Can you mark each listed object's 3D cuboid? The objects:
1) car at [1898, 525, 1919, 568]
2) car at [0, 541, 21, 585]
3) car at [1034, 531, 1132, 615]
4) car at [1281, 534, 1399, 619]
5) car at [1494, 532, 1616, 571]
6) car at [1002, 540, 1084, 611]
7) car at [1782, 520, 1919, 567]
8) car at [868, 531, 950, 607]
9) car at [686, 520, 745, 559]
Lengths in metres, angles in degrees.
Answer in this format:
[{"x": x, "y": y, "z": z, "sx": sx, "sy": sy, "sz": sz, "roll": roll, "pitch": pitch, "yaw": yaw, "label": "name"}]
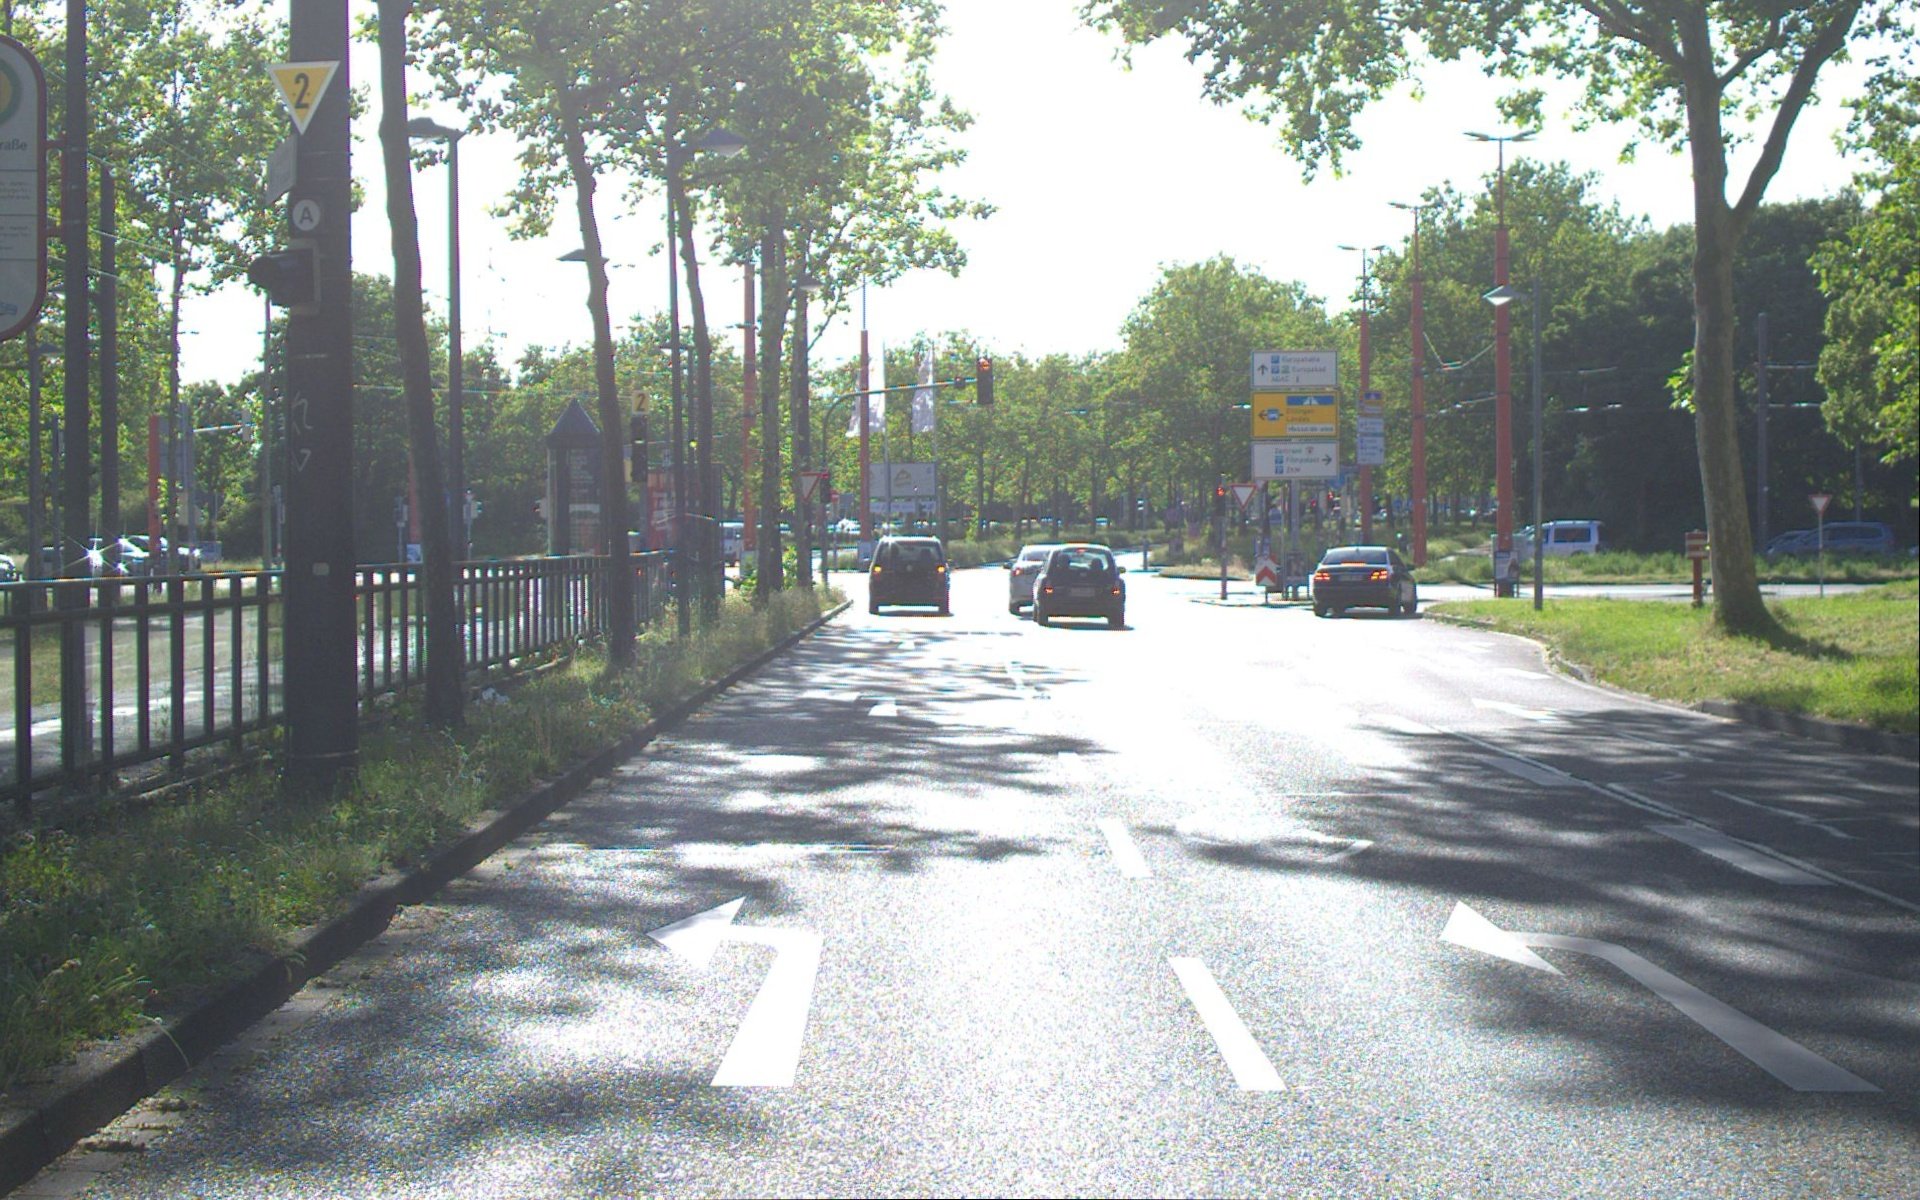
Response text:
[{"x": 34.969, "y": -1.853, "z": 120.063, "sx": 3.992, "sy": 1.490, "sz": 1.858, "roll": 1, "pitch": 1, "yaw": 26, "label": "car"}, {"x": -37.442, "y": -1.338, "z": 127.944, "sx": 4.489, "sy": 1.605, "sz": 1.898, "roll": -1, "pitch": 1, "yaw": 18, "label": "car"}, {"x": 2.314, "y": -0.541, "z": 65.395, "sx": 1.638, "sy": 1.489, "sz": 3.504, "roll": 1, "pitch": 2, "yaw": -2, "label": "car"}, {"x": 8.175, "y": -0.526, "z": 74.323, "sx": 1.981, "sy": 1.786, "sz": 4.614, "roll": 0, "pitch": 1, "yaw": -1, "label": "car"}, {"x": 21.373, "y": -1.751, "z": 123.590, "sx": 3.992, "sy": 1.333, "sz": 1.727, "roll": 1, "pitch": 1, "yaw": 26, "label": "car"}, {"x": 1.769, "y": -0.550, "z": 74.302, "sx": 1.678, "sy": 1.470, "sz": 4.131, "roll": 1, "pitch": 1, "yaw": 0, "label": "car"}, {"x": 30.817, "y": -1.947, "z": 118.850, "sx": 4.357, "sy": 1.553, "sz": 1.870, "roll": 1, "pitch": 1, "yaw": 25, "label": "car"}, {"x": -1.123, "y": -0.680, "z": 73.900, "sx": 1.710, "sy": 1.598, "sz": 3.350, "roll": 0, "pitch": 1, "yaw": -2, "label": "car"}, {"x": -11.423, "y": -2.816, "z": 160.940, "sx": 1.823, "sy": 1.774, "sz": 4.566, "roll": 1, "pitch": 1, "yaw": 8, "label": "car"}]
